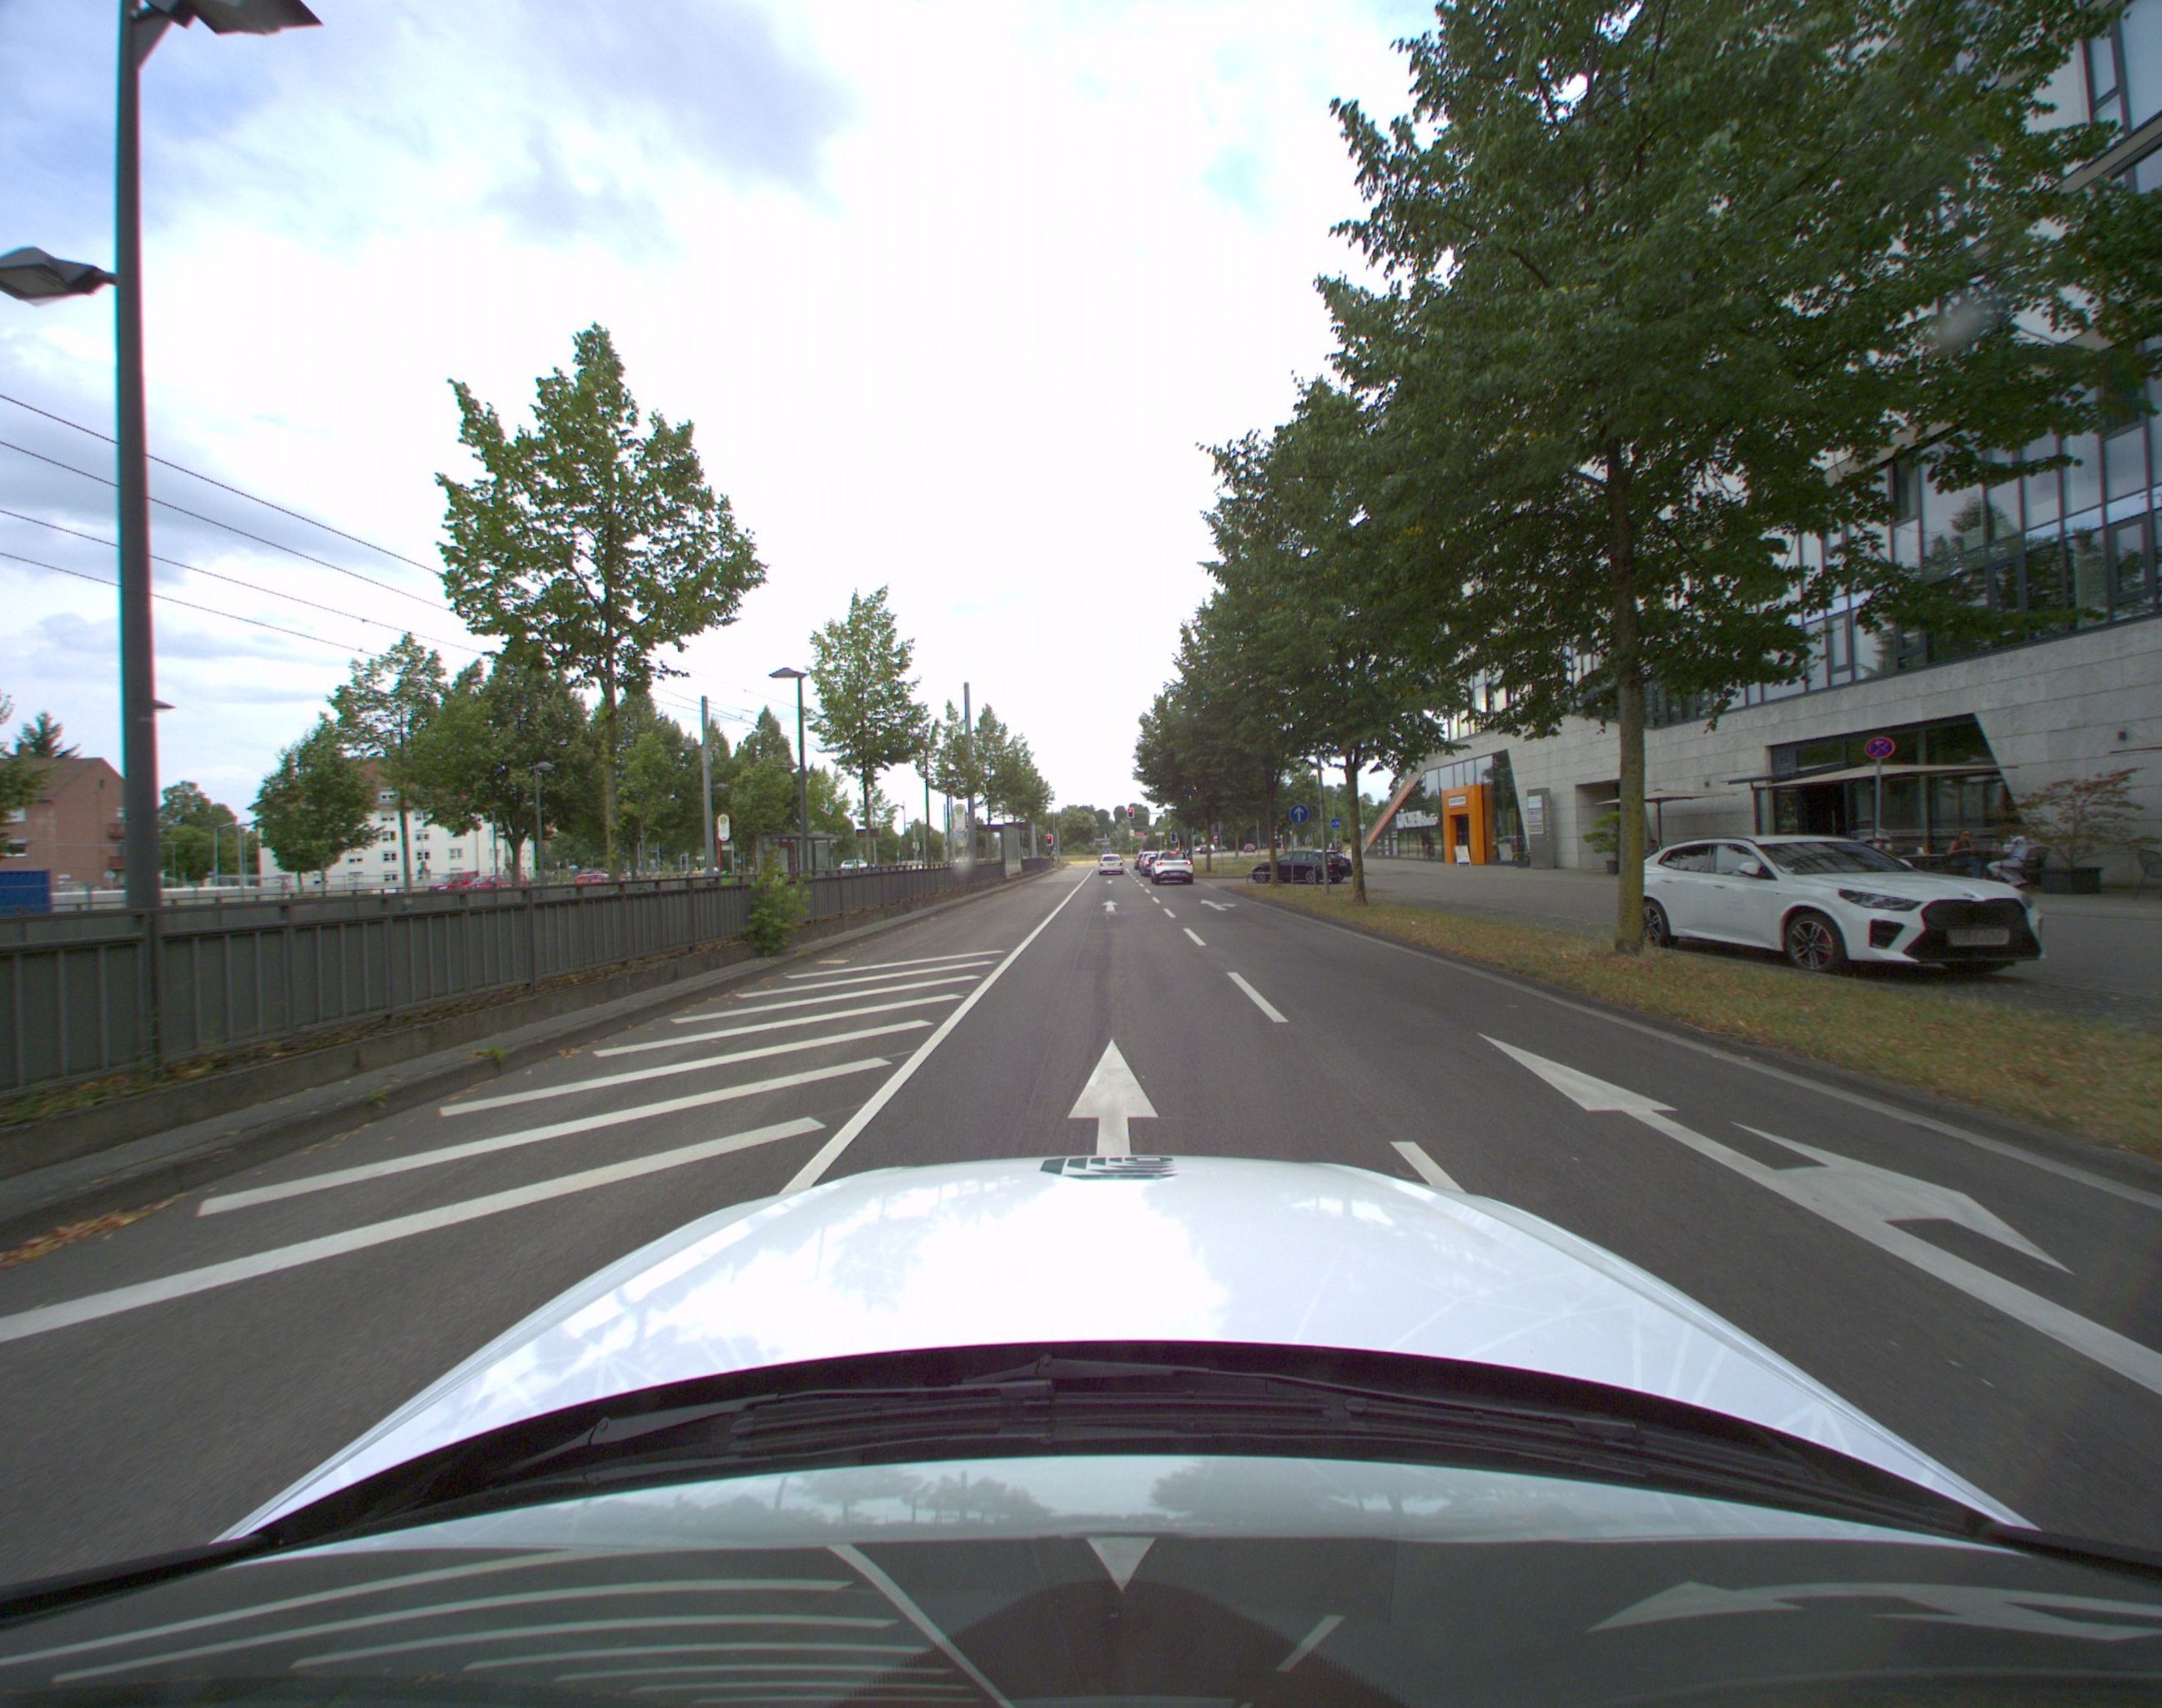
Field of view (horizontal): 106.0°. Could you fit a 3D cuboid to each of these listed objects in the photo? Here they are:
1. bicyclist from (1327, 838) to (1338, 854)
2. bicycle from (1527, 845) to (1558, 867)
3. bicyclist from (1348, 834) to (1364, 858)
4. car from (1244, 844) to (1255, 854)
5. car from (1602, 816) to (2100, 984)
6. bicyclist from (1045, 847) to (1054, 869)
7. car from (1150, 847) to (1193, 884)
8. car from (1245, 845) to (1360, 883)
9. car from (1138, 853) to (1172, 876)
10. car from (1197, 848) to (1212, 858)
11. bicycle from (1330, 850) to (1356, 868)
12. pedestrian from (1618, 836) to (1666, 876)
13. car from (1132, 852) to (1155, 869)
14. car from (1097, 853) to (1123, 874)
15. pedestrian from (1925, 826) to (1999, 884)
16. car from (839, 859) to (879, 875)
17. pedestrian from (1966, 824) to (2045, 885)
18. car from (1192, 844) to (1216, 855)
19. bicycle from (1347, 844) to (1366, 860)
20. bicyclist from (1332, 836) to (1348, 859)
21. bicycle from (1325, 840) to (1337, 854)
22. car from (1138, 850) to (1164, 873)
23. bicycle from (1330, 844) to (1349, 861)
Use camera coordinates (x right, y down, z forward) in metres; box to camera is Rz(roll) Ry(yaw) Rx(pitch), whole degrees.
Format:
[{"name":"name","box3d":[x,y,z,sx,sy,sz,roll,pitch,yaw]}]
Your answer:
[{"name":"bicyclist","box3d":[28.509,-0.928,92.358,0.863,1.789,1.175,-2,0,1]},{"name":"bicycle","box3d":[20.063,0.094,35.421,0.516,0.910,1.494,-3,0,2]},{"name":"bicyclist","box3d":[18.889,-0.542,55.918,0.722,1.582,0.990,-2,0,2]},{"name":"car","box3d":[28.473,-0.889,137.288,1.771,1.636,4.416,-2,0,12]},{"name":"car","box3d":[8.941,0.433,10.202,1.931,1.552,4.595,-2,0,1]},{"name":"bicyclist","box3d":[-2.819,0.363,73.958,0.726,1.884,0.734,-3,8,-1]},{"name":"car","box3d":[4.355,0.527,39.761,1.772,1.656,4.026,-3,0,2]},{"name":"car","box3d":[9.746,0.467,36.159,1.955,1.475,4.820,-2,0,-33]},{"name":"car","box3d":[4.880,0.684,54.165,1.781,1.432,4.310,-2,0,0]},{"name":"car","box3d":[21.582,-0.162,142.564,1.988,1.791,3.998,0,0,-1]},{"name":"bicycle","box3d":[14.260,0.254,44.389,0.628,0.956,2.106,-2,0,-2]},{"name":"pedestrian","box3d":[18.133,0.050,26.333,0.893,1.228,0.952,-3,0,6]},{"name":"car","box3d":[5.355,0.546,70.066,1.619,1.448,3.910,-1,0,0]},{"name":"car","box3d":[2.064,0.636,59.028,1.768,1.448,3.910,-1,0,0]},{"name":"pedestrian","box3d":[18.920,0.014,17.503,0.716,1.192,0.759,-3,0,1]},{"name":"car","box3d":[-25.084,1.462,91.897,4.327,1.618,2.013,-2,0,36]},{"name":"pedestrian","box3d":[18.878,0.004,16.652,0.715,1.192,0.759,-3,0,3]},{"name":"car","box3d":[24.968,-0.970,165.324,5.028,2.013,1.976,-3,0,-43]},{"name":"bicycle","box3d":[18.888,-0.152,55.844,0.671,1.042,2.008,-2,0,2]},{"name":"bicyclist","box3d":[17.630,-0.443,55.456,0.722,1.582,0.990,-2,0,1]},{"name":"bicycle","box3d":[28.458,-0.785,92.745,0.703,1.505,2.007,-2,0,0]},{"name":"car","box3d":[5.298,0.576,62.236,1.780,1.624,3.913,-3,0,2]},{"name":"bicycle","box3d":[17.627,-0.107,55.602,0.671,1.143,2.008,-2,0,2]}]
